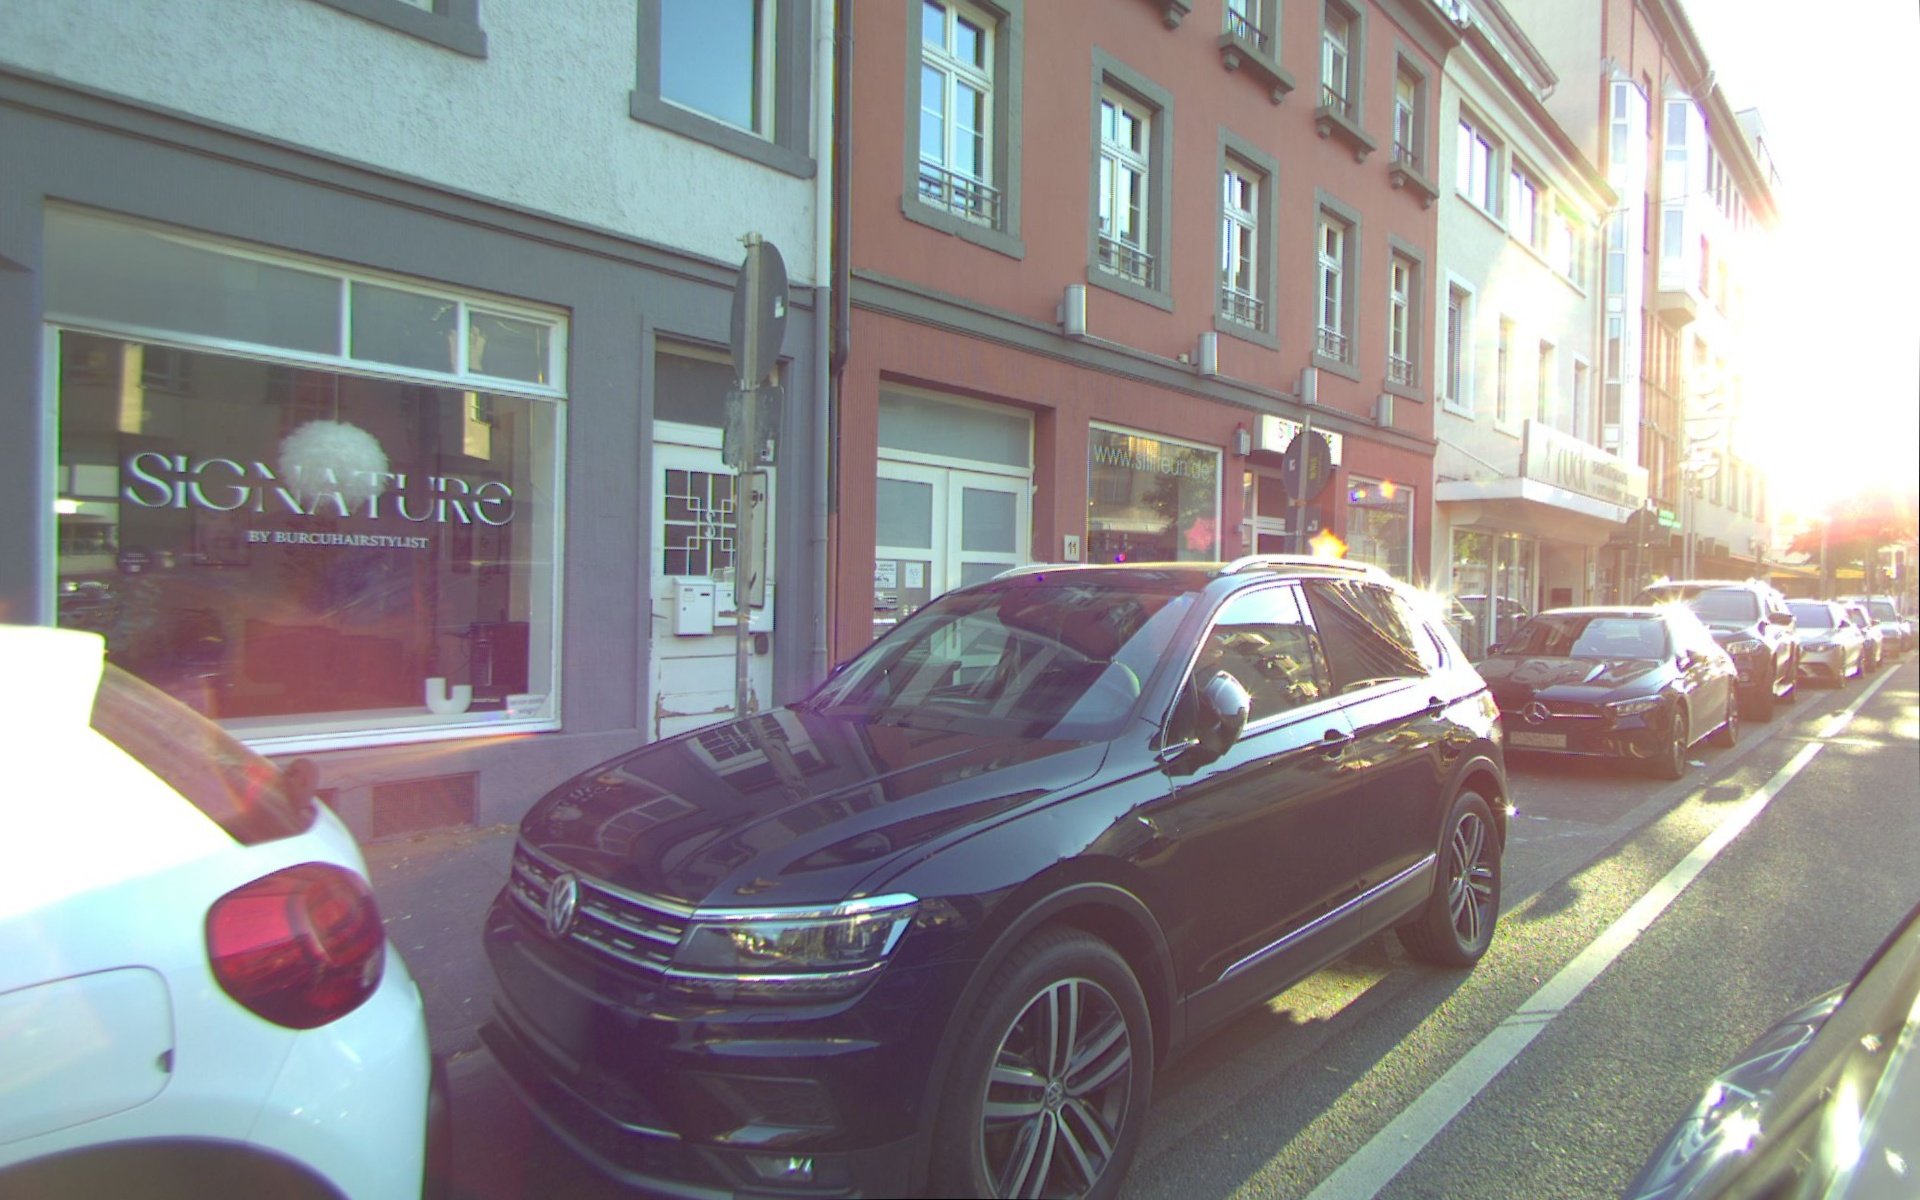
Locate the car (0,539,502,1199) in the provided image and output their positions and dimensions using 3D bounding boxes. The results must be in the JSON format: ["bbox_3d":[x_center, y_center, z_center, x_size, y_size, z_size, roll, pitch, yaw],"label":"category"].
[{"bbox_3d":[-2.634,0.636,0.899,3.740,1.395,1.668,-1,1,-44],"label":"car"}]

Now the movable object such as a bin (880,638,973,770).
[{"bbox_3d":[-0.267,0.793,7.970,0.553,0.950,0.477,1,1,44],"label":"movable object such as a bin"}]

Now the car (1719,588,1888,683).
[{"bbox_3d":[15.926,0.564,19.011,4.909,1.546,1.814,-1,1,-43],"label":"car"}]

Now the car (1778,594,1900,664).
[{"bbox_3d":[19.970,0.600,22.919,4.435,1.438,1.754,1,0,-45],"label":"car"}]

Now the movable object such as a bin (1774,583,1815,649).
[{"bbox_3d":[23.088,0.420,27.998,0.834,1.796,1.187,0,0,42],"label":"movable object such as a bin"}]

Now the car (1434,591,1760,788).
[{"bbox_3d":[6.392,0.676,9.949,4.236,1.502,1.763,-1,1,-44],"label":"car"}]

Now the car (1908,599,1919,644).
[{"bbox_3d":[31.921,0.690,32.630,1.937,1.394,4.116,0,0,44],"label":"car"}]

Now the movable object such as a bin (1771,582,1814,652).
[{"bbox_3d":[22.241,0.435,27.035,0.834,1.796,1.333,0,0,42],"label":"movable object such as a bin"}]

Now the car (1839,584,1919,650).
[{"bbox_3d":[26.703,0.476,29.421,1.653,1.801,3.949,0,-1,42],"label":"car"}]

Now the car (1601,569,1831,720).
[{"bbox_3d":[10.788,0.490,14.281,4.976,1.776,1.884,-1,1,-45],"label":"car"}]

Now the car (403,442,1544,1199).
[{"bbox_3d":[0.487,0.565,3.719,4.136,1.689,1.813,-1,1,-44],"label":"car"}]
